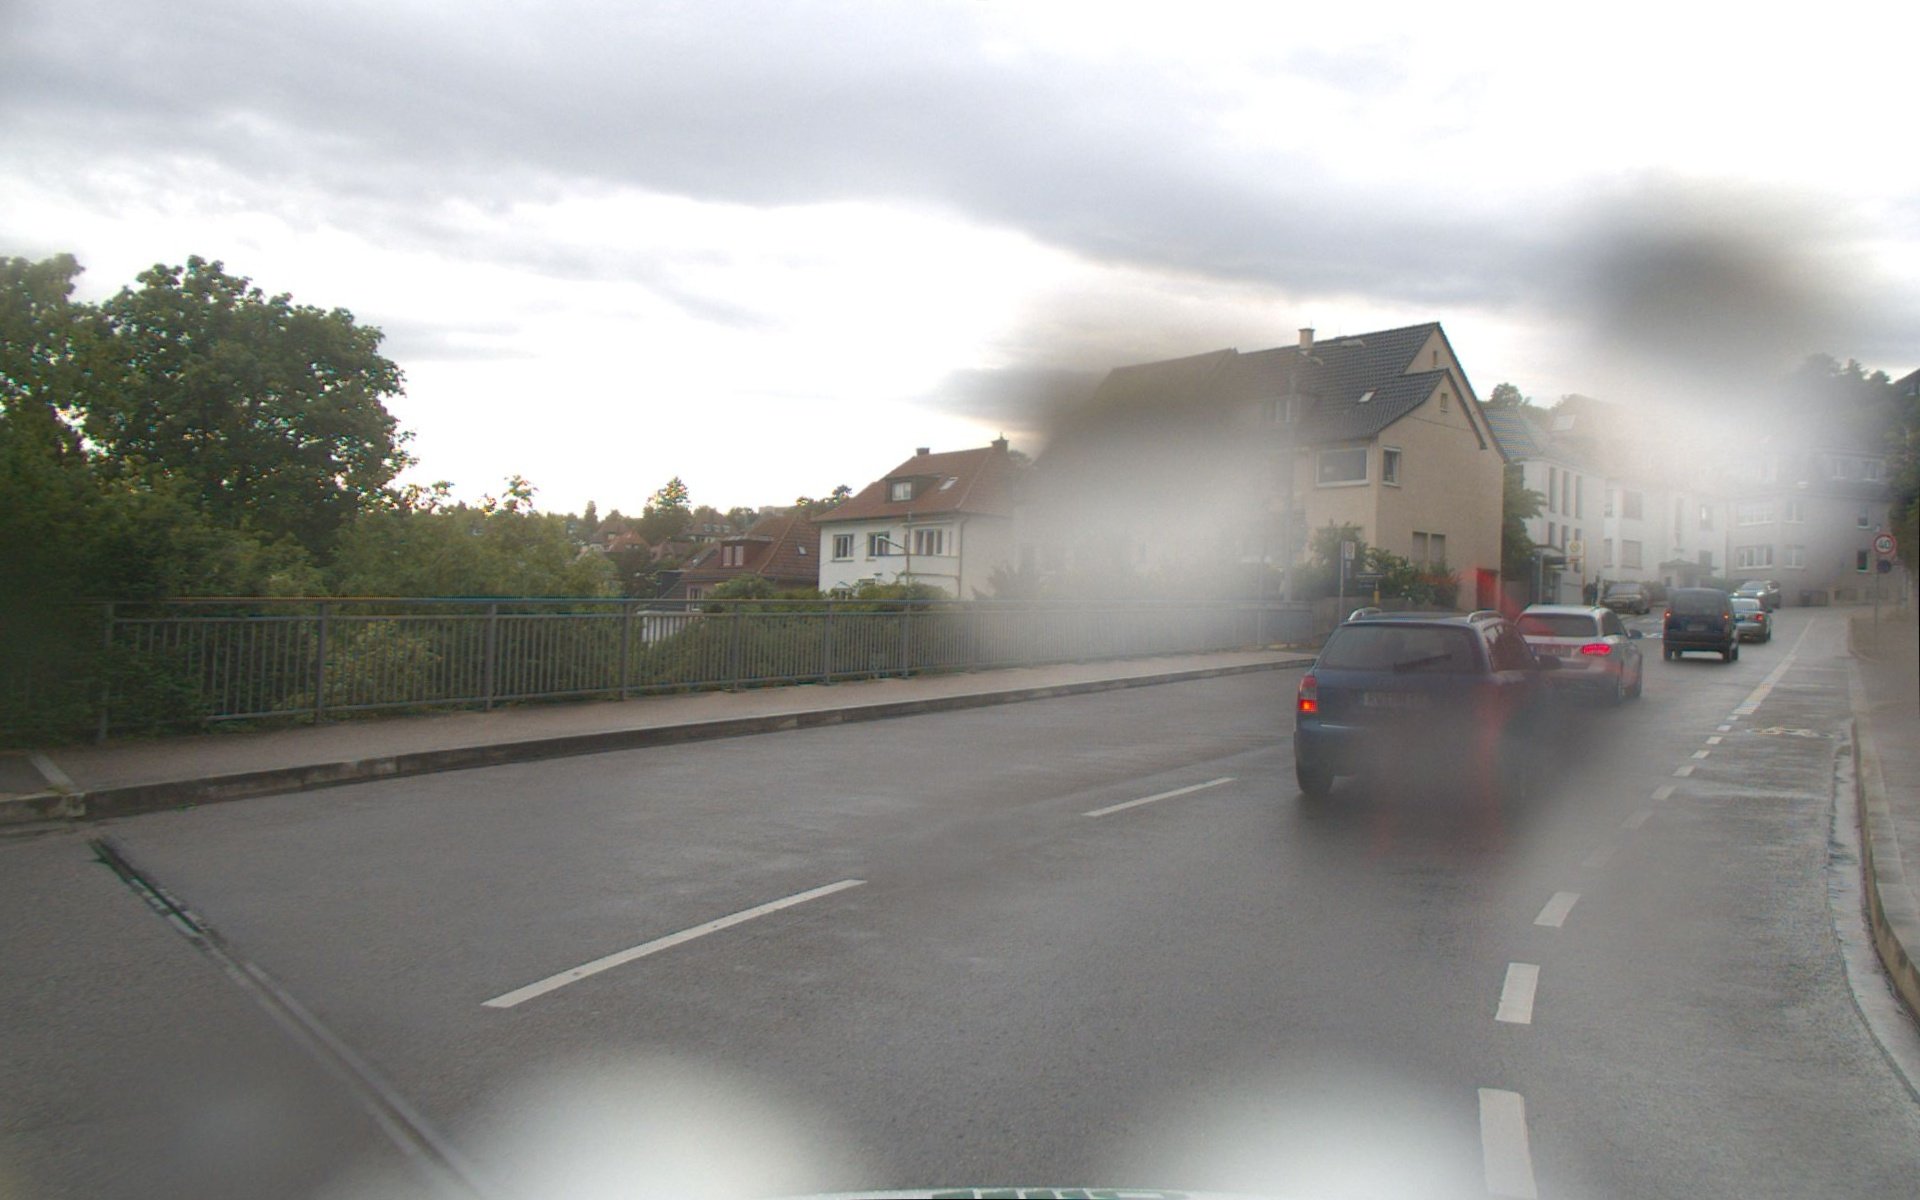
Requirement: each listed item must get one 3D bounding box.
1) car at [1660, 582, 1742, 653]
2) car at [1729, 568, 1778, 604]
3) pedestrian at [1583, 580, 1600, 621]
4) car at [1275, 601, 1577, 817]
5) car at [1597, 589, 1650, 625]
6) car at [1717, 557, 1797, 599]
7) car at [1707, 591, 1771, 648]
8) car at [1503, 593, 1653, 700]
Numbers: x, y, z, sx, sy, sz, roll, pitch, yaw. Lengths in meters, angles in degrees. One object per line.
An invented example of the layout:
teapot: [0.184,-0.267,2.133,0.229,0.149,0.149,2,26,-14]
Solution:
car: [19.246,0.435,42.928,1.786,1.645,3.783,4,2,25]
car: [49.170,-0.836,102.441,1.961,2.048,3.984,4,2,36]
pedestrian: [27.226,0.033,71.332,0.644,1.720,0.581,-2,1,22]
car: [3.960,0.758,13.589,1.713,1.432,3.997,2,1,25]
car: [32.779,0.356,81.686,1.956,1.738,3.993,0,0,29]
car: [44.238,-1.202,91.813,3.940,2.048,1.983,3,2,-28]
car: [26.482,0.645,56.284,1.786,1.760,3.783,4,2,25]
car: [9.672,0.693,25.717,1.854,1.413,3.997,4,1,24]
